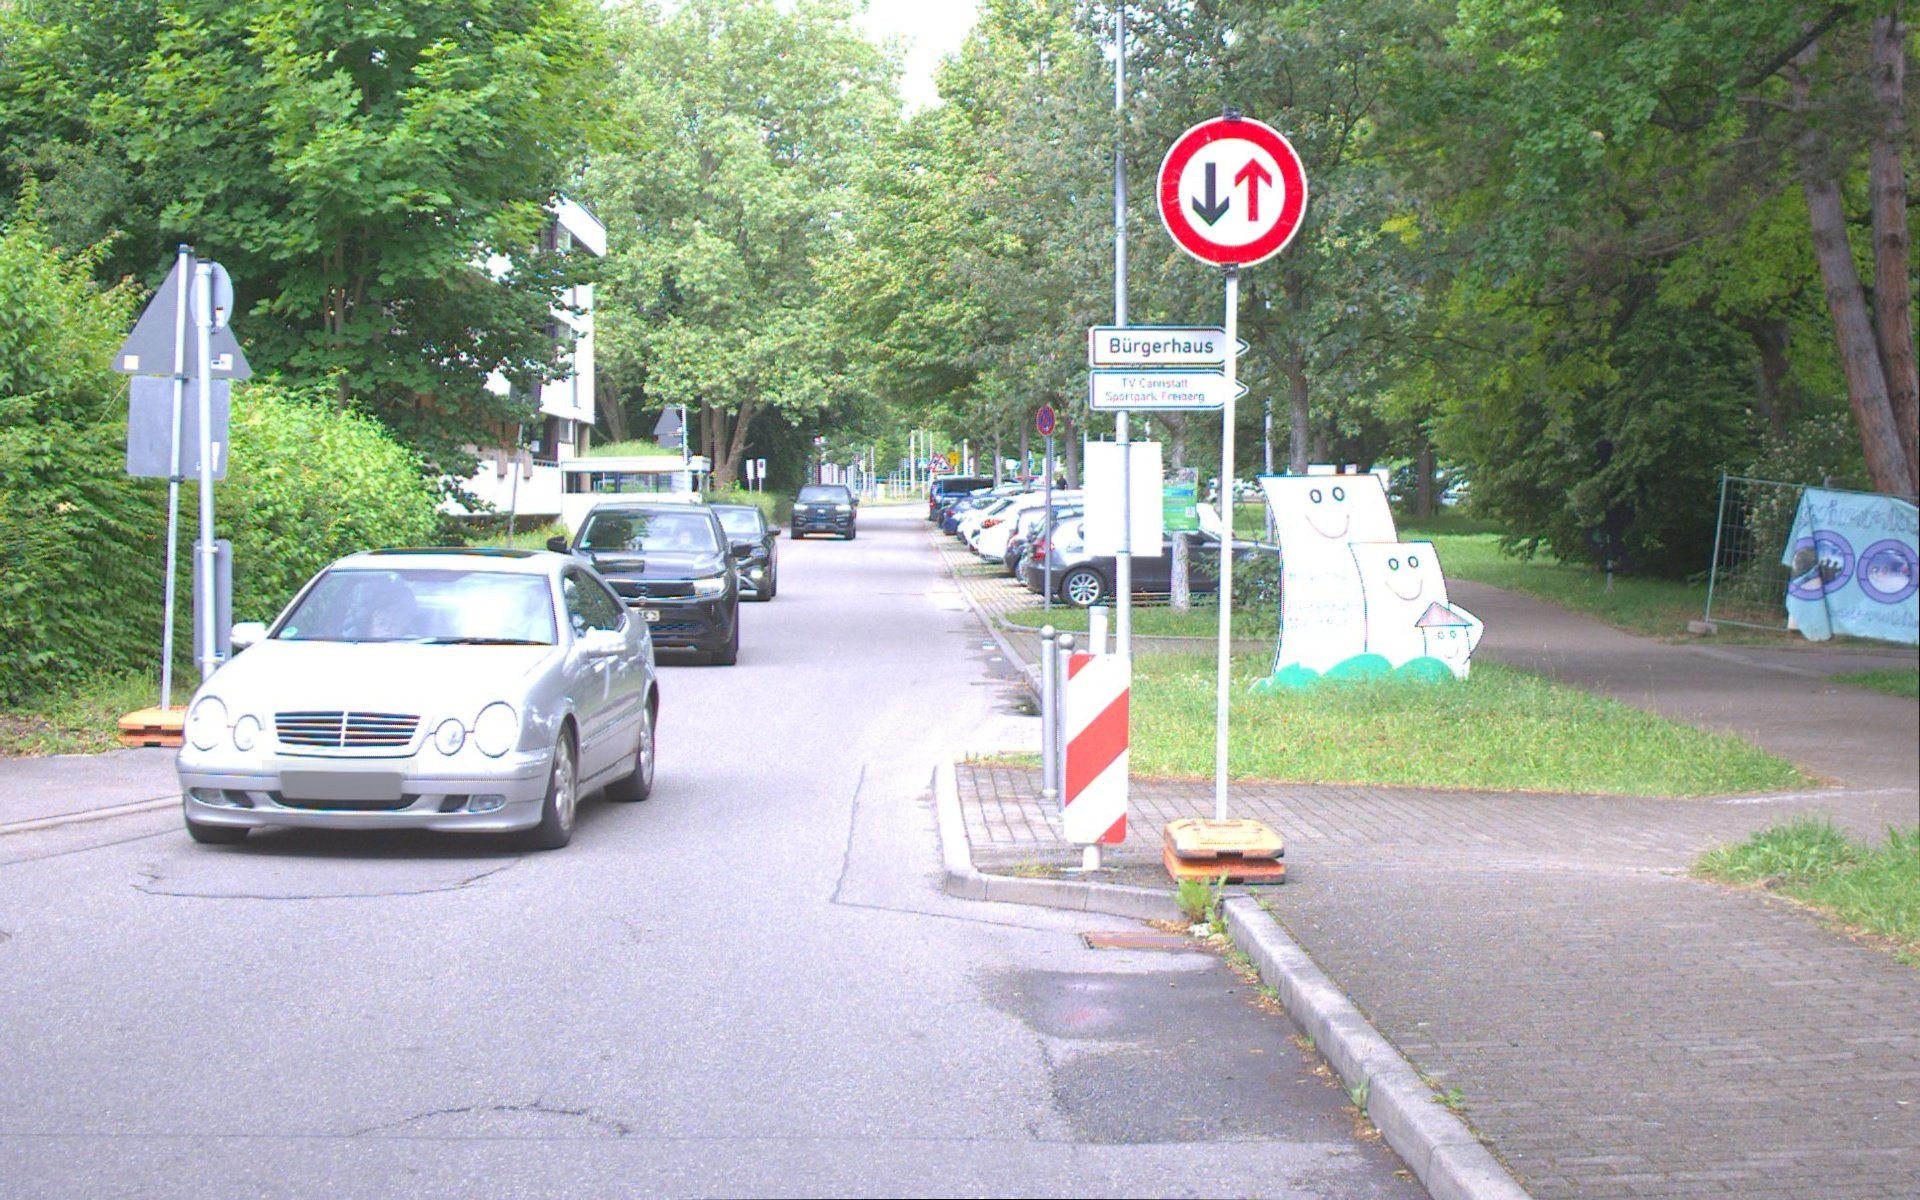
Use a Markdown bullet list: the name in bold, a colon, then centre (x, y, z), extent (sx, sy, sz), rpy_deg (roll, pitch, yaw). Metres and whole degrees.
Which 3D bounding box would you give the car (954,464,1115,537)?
- **car**: centre (1.973, -2.673, 92.167), extent (4.062, 1.681, 1.823), rpy_deg (-4, 2, -4)

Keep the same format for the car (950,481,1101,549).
- **car**: centre (1.859, -2.438, 97.993), extent (4.062, 1.681, 1.823), rpy_deg (-4, 2, -4)

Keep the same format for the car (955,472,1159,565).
- **car**: centre (2.025, -1.726, 72.544), extent (4.062, 1.681, 1.823), rpy_deg (-4, 2, -4)

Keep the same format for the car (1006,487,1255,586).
- **car**: centre (2.873, -1.090, 58.505), extent (4.062, 1.563, 1.823), rpy_deg (-1, 2, -2)

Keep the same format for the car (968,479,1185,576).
- **car**: centre (2.306, -1.456, 68.698), extent (4.062, 1.681, 1.823), rpy_deg (-4, 2, -4)

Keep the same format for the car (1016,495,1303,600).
- **car**: centre (2.919, -0.763, 50.946), extent (4.062, 1.429, 2.000), rpy_deg (-1, 0, -2)

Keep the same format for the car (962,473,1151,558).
- **car**: centre (2.181, -1.931, 78.364), extent (4.062, 1.681, 1.823), rpy_deg (-4, 2, -4)

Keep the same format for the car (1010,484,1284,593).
- **car**: centre (2.866, -0.942, 53.248), extent (4.062, 1.563, 1.822), rpy_deg (-1, 0, -2)

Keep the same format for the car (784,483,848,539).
- **car**: centre (-4.598, -2.856, 110.180), extent (1.968, 1.741, 4.339), rpy_deg (0, 2, -2)

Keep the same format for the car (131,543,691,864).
- **car**: centre (-2.515, 0.403, 16.797), extent (1.781, 1.302, 4.296), rpy_deg (1, 2, 4)

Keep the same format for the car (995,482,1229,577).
- **car**: centre (2.781, -1.305, 63.484), extent (4.062, 1.483, 1.823), rpy_deg (-4, 2, -4)

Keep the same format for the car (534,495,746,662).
- **car**: centre (-3.208, -0.268, 35.182), extent (1.803, 1.586, 4.296), rpy_deg (0, 2, -1)

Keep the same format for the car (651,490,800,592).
- **car**: centre (-3.784, -0.985, 56.188), extent (1.803, 1.586, 4.295), rpy_deg (1, 2, 5)
